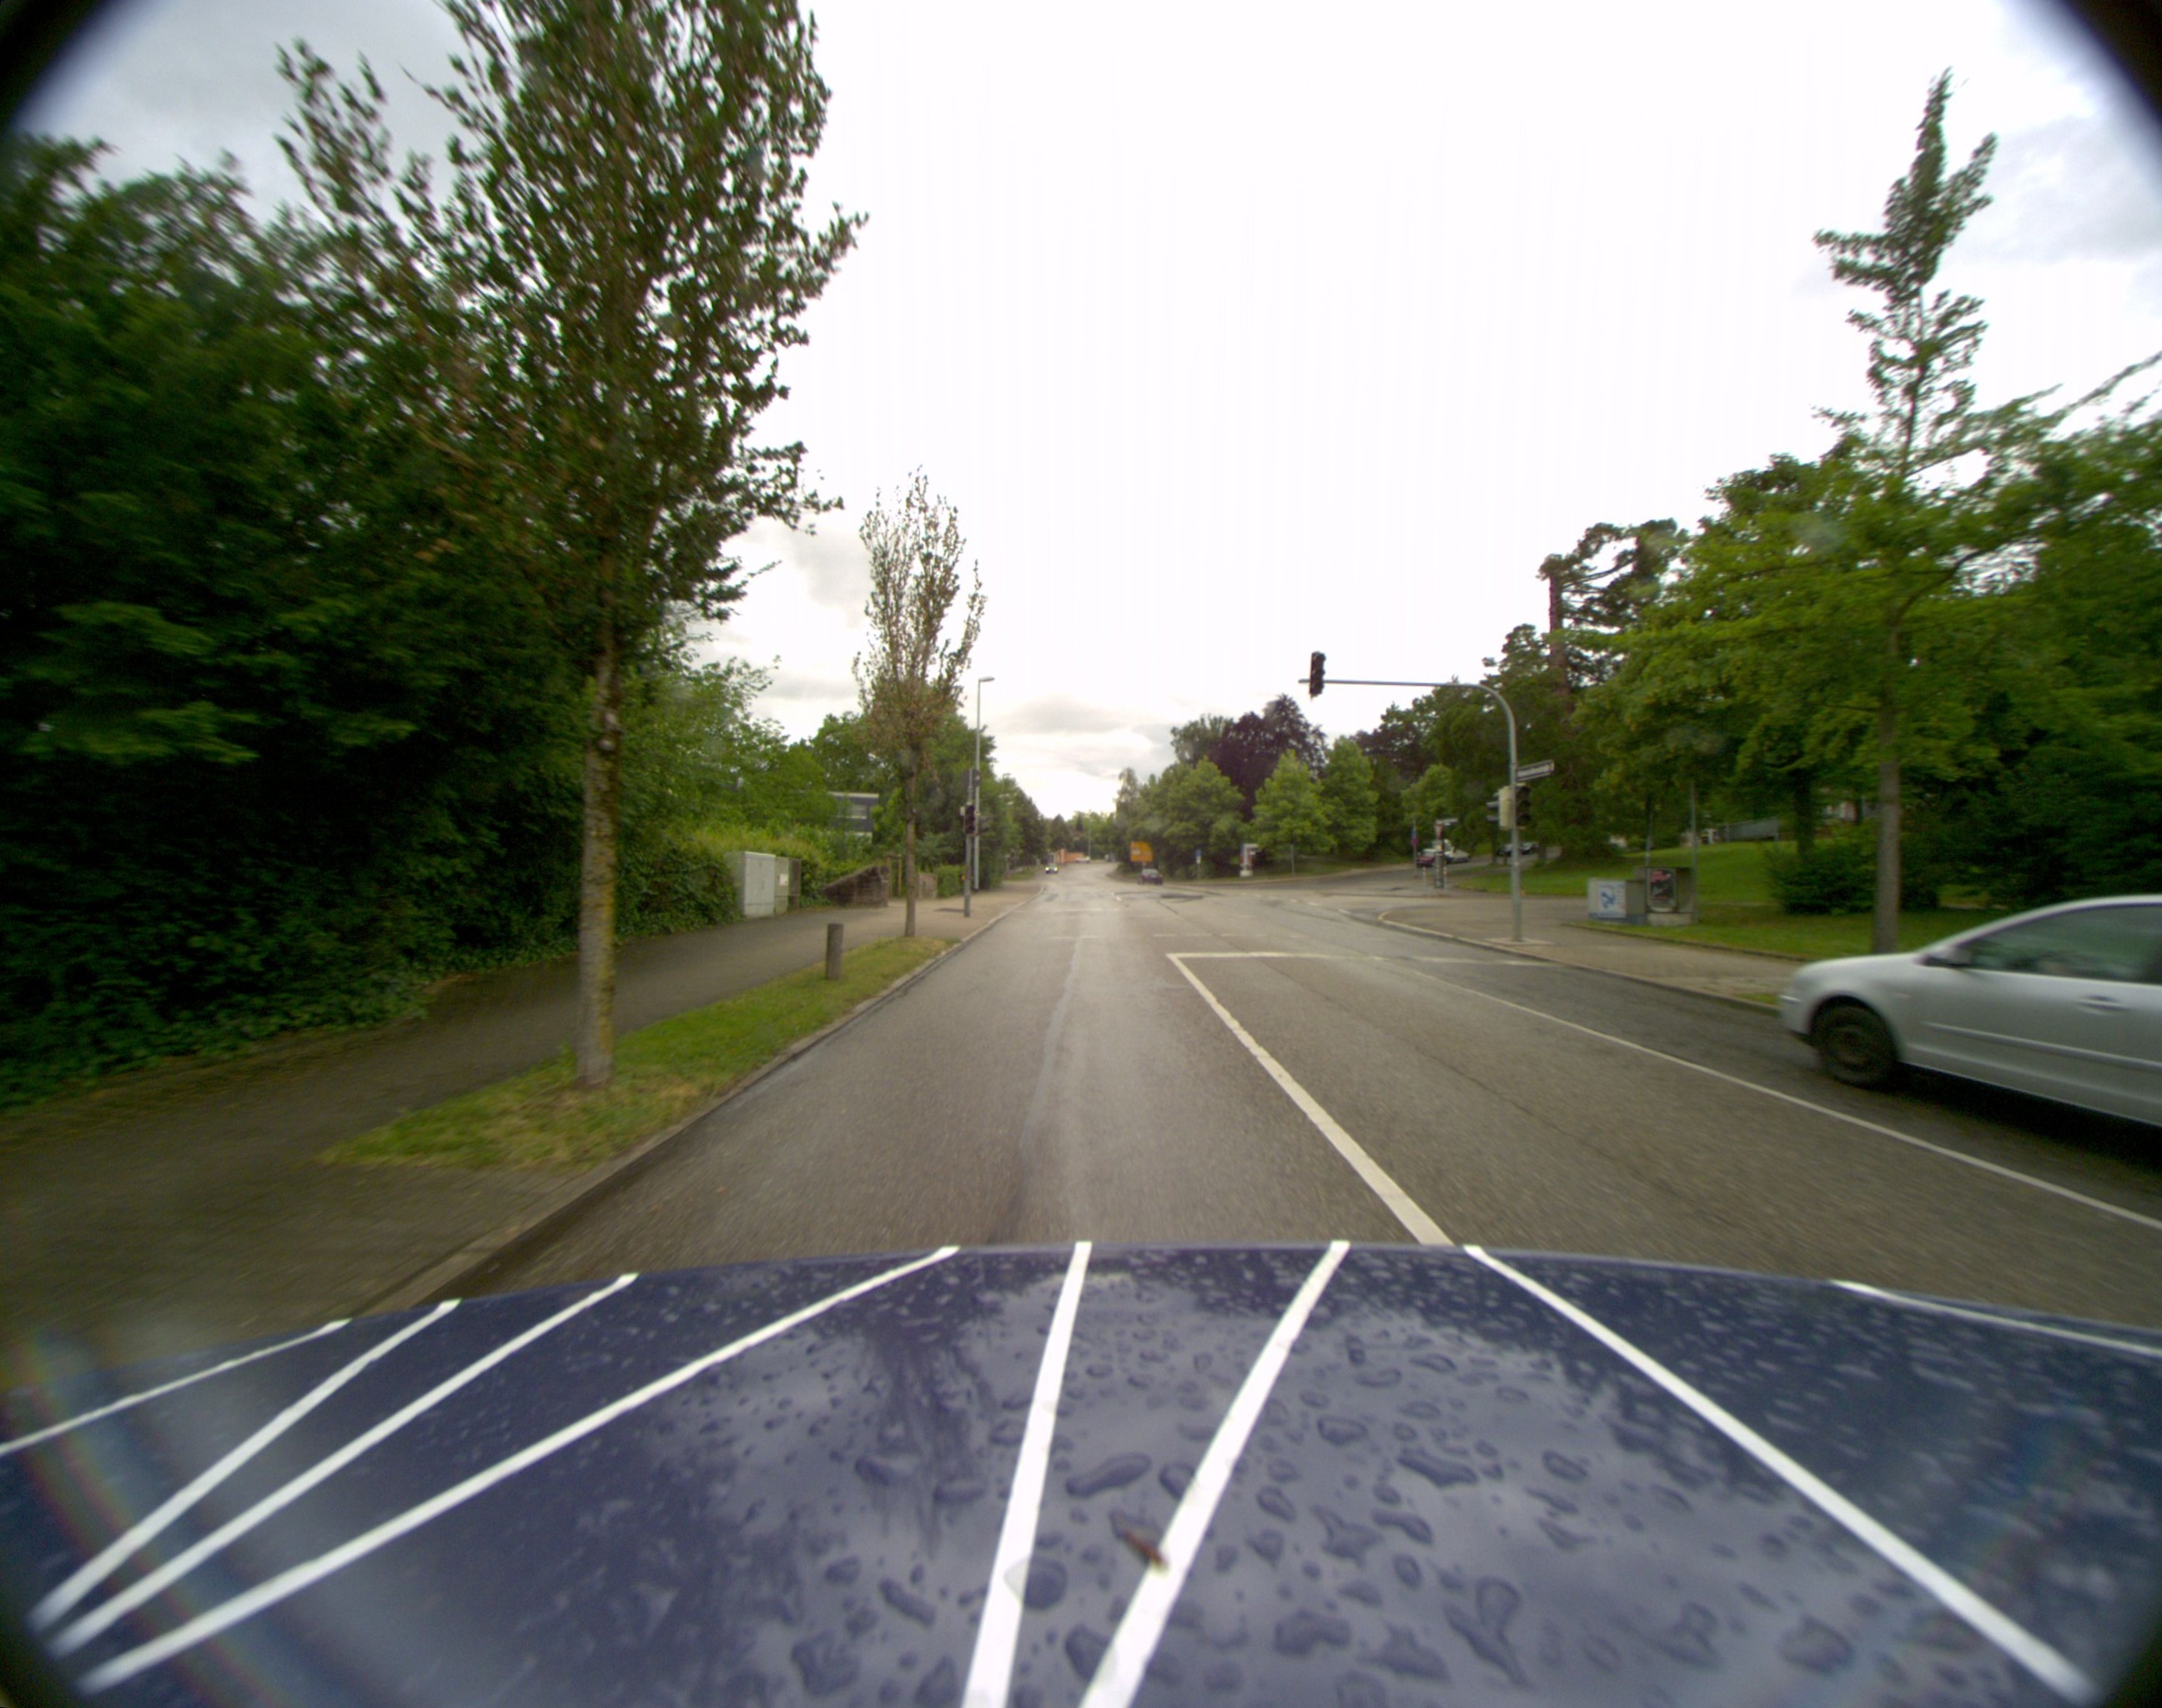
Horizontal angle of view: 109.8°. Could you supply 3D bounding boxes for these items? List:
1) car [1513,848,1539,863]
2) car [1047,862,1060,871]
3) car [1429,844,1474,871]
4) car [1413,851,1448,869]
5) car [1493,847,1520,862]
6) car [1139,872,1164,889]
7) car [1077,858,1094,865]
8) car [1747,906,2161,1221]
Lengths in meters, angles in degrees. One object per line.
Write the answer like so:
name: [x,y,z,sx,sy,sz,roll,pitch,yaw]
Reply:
car: [53.671,0.175,91.619,1.822,1.658,4.009,-2,-1,43]
car: [-4.556,2.071,126.959,1.862,1.406,4.387,1,-2,1]
car: [38.394,0.385,78.592,5.682,2.683,2.152,-1,-1,-42]
car: [34.448,0.600,74.845,1.972,1.658,4.008,-2,-1,44]
car: [49.348,0.014,88.009,1.822,1.658,4.009,-2,-1,43]
car: [5.927,2.247,64.271,1.665,1.298,4.085,2,-2,1]
car: [1.185,1.839,191.237,3.864,1.557,1.728,3,0,8]
car: [6.126,1.129,3.977,1.726,1.391,4.000,3,0,1]
